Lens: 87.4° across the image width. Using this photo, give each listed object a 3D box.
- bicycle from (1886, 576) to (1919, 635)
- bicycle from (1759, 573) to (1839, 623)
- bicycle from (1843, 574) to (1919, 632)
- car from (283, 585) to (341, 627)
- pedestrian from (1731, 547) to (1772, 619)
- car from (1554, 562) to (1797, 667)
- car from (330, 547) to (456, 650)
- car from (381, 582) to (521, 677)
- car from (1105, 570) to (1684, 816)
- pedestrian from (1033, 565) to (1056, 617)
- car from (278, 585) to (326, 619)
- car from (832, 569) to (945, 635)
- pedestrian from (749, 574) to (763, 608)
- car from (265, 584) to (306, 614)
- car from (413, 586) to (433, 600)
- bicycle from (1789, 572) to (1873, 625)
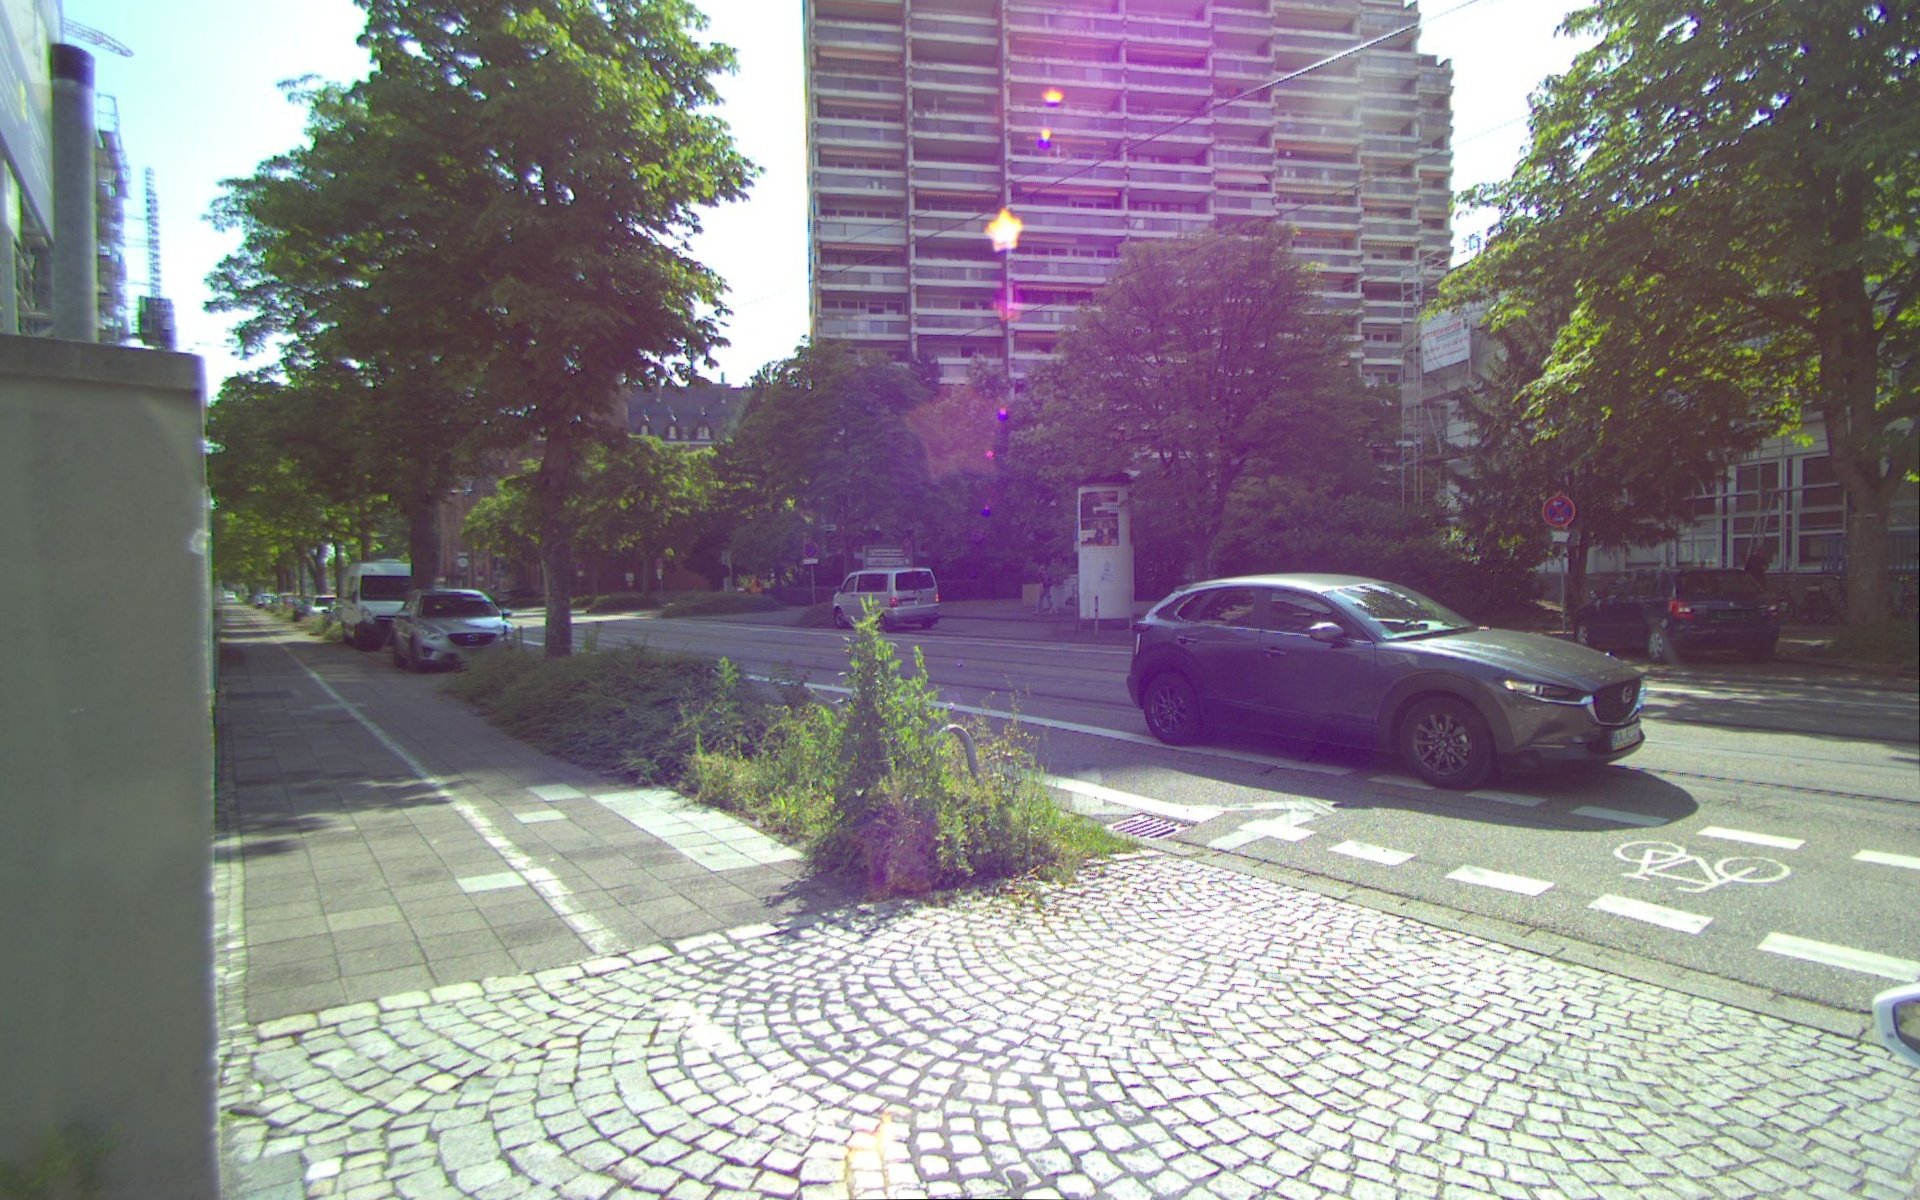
[{"bbox_3d":[19.131,0.099,19.753,1.553,1.136,0.541,-1,-1,-13],"label":"bicycle"},{"bbox_3d":[19.013,-0.046,22.755,1.553,1.095,0.541,-1,-1,-13],"label":"bicycle"},{"bbox_3d":[18.953,0.052,20.517,1.553,1.128,0.541,-1,-1,-13],"label":"bicycle"},{"bbox_3d":[-28.630,0.215,44.349,1.735,1.628,4.191,-6,4,-37],"label":"car"},{"bbox_3d":[18.500,-0.416,23.479,0.638,1.646,0.653,-4,4,-44],"label":"pedestrian"},{"bbox_3d":[11.856,0.175,16.987,1.707,1.544,3.887,-1,1,7],"label":"car"},{"bbox_3d":[-16.485,-0.116,29.070,2.317,2.595,5.332,-6,4,-37],"label":"car"},{"bbox_3d":[-10.507,0.508,20.587,1.735,1.628,4.191,-6,4,-37],"label":"car"},{"bbox_3d":[3.434,0.540,8.708,1.778,1.533,4.304,-3,3,-37],"label":"car"},{"bbox_3d":[2.990,-0.337,35.386,0.519,1.778,0.629,-4,6,-32],"label":"pedestrian"},{"bbox_3d":[-34.645,0.068,52.846,1.735,1.628,4.191,-6,4,-37],"label":"car"},{"bbox_3d":[-2.415,0.006,32.935,1.872,1.876,4.198,-5,4,-32],"label":"car"},{"bbox_3d":[-10.811,-0.482,53.251,0.459,1.778,0.526,-6,6,-43],"label":"pedestrian"},{"bbox_3d":[-41.149,-0.088,61.216,1.735,1.628,4.191,-6,4,-37],"label":"car"},{"bbox_3d":[-64.897,-0.815,121.447,1.614,1.595,3.911,2,0,-36],"label":"car"},{"bbox_3d":[18.917,-0.035,21.823,1.553,1.107,0.541,-1,-1,-13],"label":"bicycle"}]
